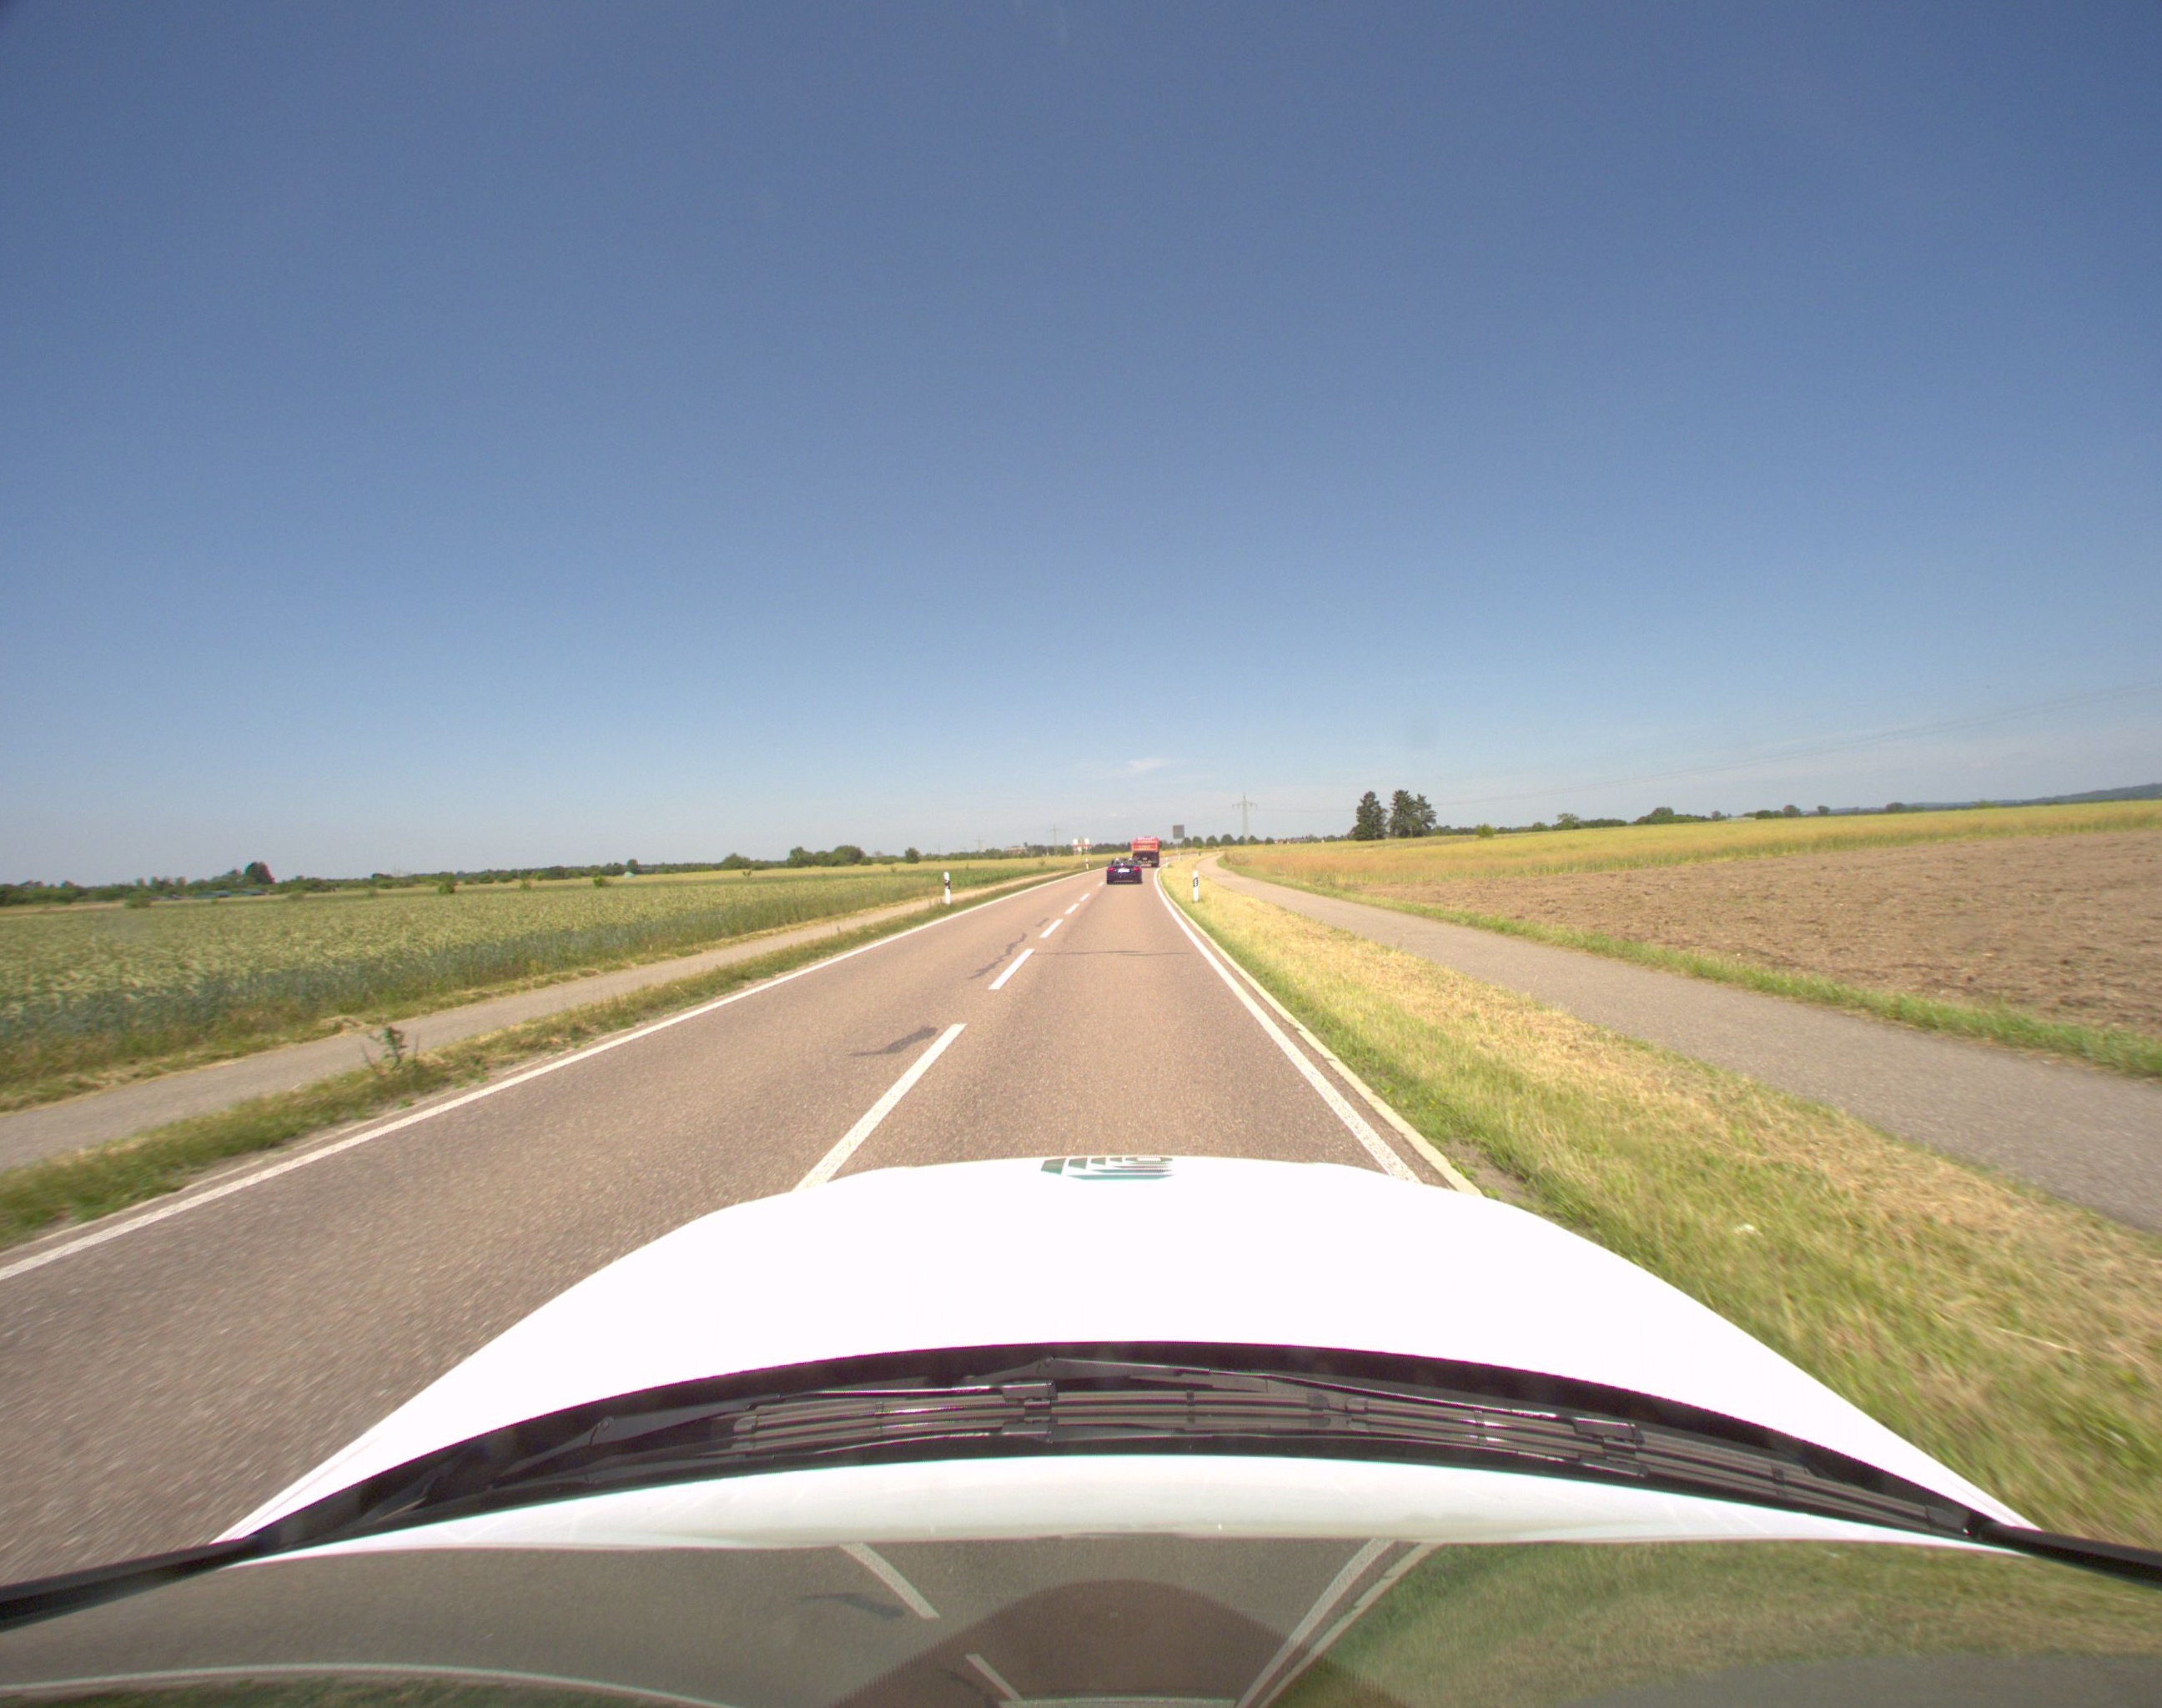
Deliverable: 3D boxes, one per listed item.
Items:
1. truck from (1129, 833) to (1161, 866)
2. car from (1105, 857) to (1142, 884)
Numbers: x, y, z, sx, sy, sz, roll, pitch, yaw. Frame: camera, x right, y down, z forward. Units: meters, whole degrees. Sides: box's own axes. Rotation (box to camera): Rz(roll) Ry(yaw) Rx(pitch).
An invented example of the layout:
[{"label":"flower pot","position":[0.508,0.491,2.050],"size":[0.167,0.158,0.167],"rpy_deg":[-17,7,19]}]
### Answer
[{"label":"truck","position":[6.474,-0.372,82.009],"size":[2.923,3.089,7.208],"rpy_deg":[-1,-1,6]},{"label":"car","position":[2.198,0.805,41.377],"size":[1.736,1.280,4.004],"rpy_deg":[-1,0,4]}]
